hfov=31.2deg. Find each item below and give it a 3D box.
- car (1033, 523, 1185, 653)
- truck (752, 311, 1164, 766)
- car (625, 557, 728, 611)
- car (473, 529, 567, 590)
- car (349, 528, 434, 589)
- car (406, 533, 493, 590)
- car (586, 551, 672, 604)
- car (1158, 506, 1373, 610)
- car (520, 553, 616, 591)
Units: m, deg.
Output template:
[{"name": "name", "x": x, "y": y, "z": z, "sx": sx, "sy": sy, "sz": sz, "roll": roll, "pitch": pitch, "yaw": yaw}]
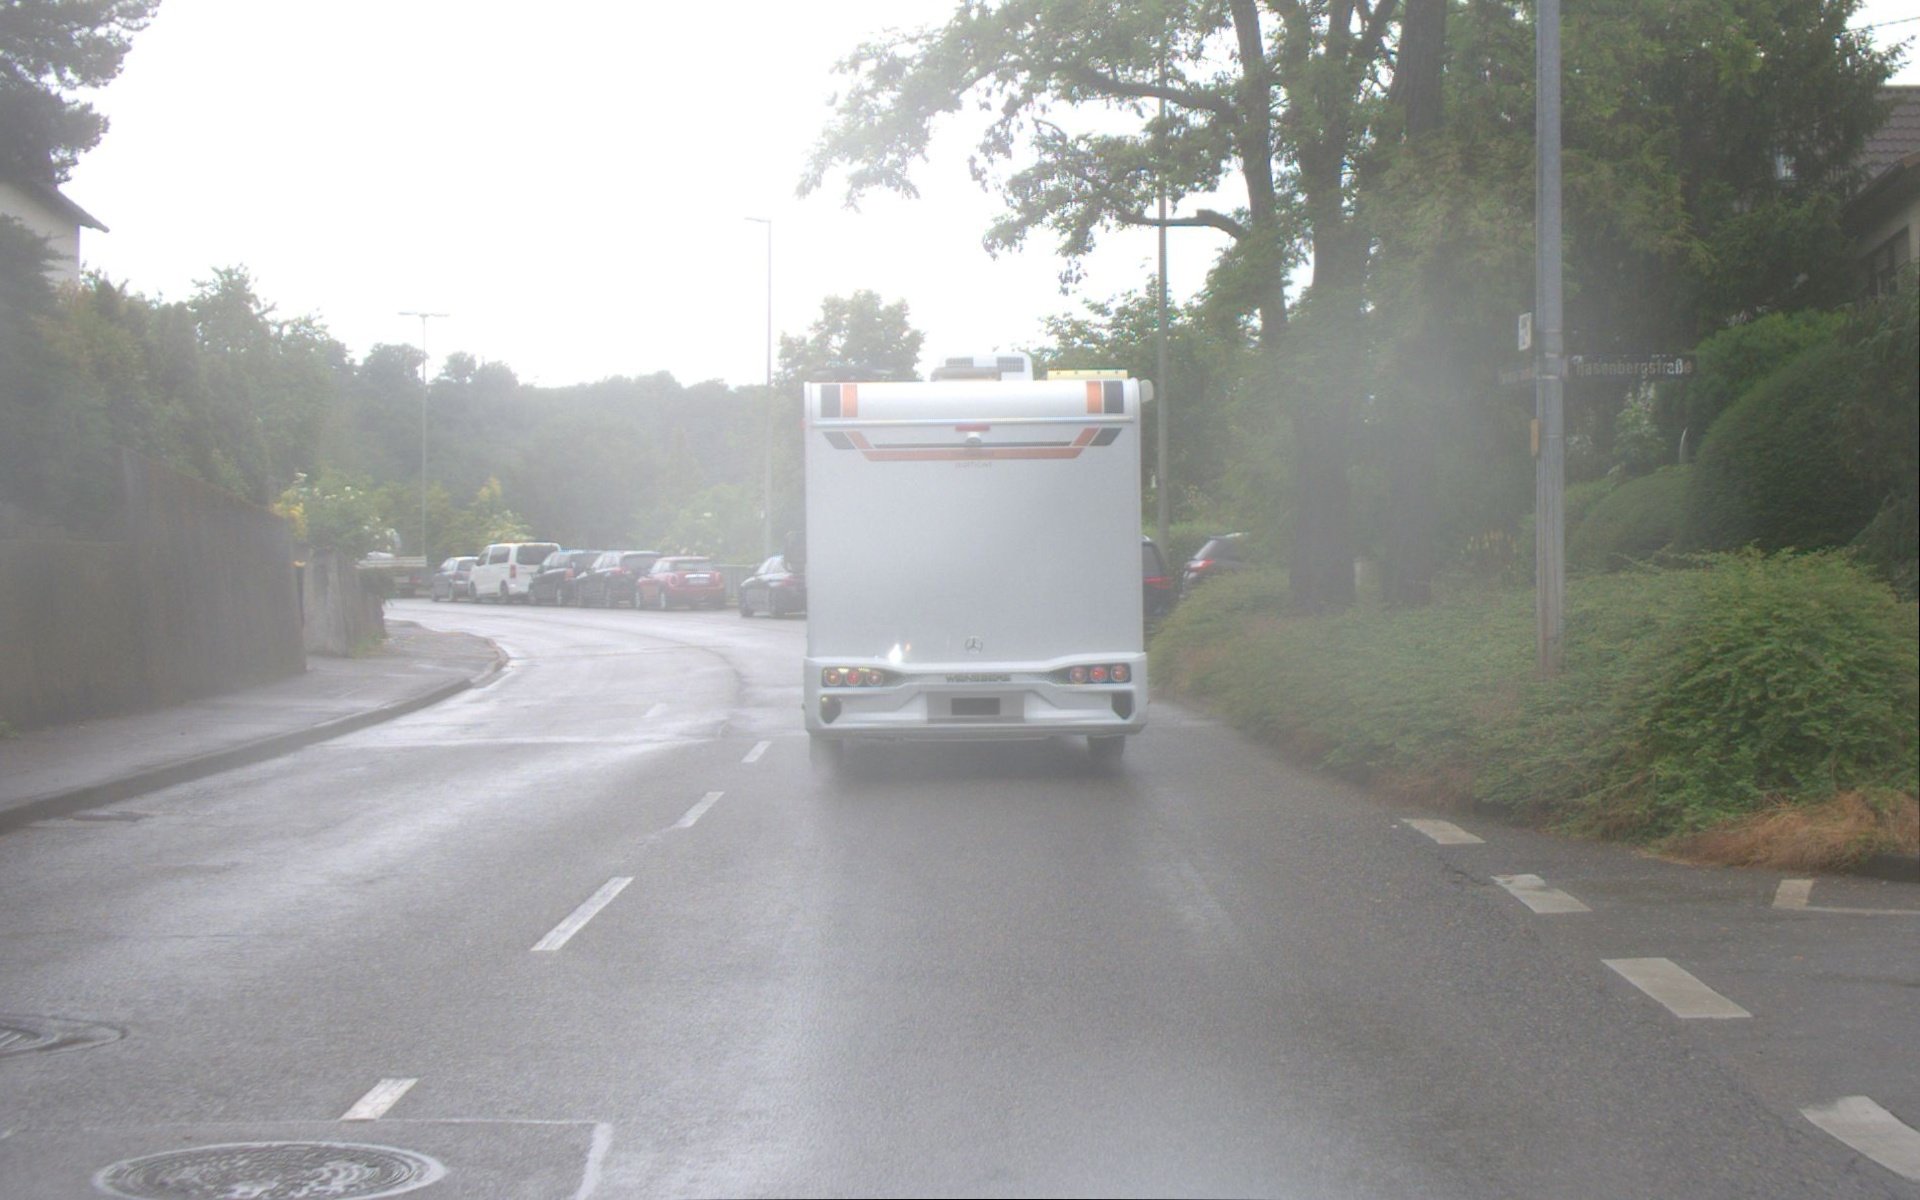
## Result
[{"name": "car", "x": 2.117, "y": -0.138, "z": 49.877, "sx": 1.993, "sy": 1.634, "sz": 3.999, "roll": 3, "pitch": -2, "yaw": 1}, {"name": "truck", "x": -0.102, "y": -0.311, "z": 25.338, "sx": 2.515, "sy": 2.808, "sz": 6.201, "roll": 3, "pitch": -2, "yaw": -2}, {"name": "car", "x": -7.632, "y": -0.420, "z": 92.354, "sx": 1.539, "sy": 1.322, "sz": 3.865, "roll": 4, "pitch": -2, "yaw": -23}, {"name": "car", "x": -13.771, "y": -1.249, "z": 107.445, "sx": 1.645, "sy": 1.715, "sz": 4.001, "roll": 4, "pitch": -2, "yaw": -25}, {"name": "car", "x": -20.501, "y": -1.471, "z": 123.801, "sx": 1.739, "sy": 2.037, "sz": 4.515, "roll": 4, "pitch": -2, "yaw": -25}, {"name": "car", "x": -16.773, "y": -1.255, "z": 112.855, "sx": 1.645, "sy": 1.715, "sz": 4.001, "roll": 4, "pitch": -2, "yaw": -25}, {"name": "car", "x": -9.356, "y": -0.608, "z": 96.997, "sx": 1.539, "sy": 1.322, "sz": 4.001, "roll": 4, "pitch": -2, "yaw": -18}, {"name": "car", "x": 5.645, "y": -0.765, "z": 63.821, "sx": 3.624, "sy": 1.658, "sz": 2.000, "roll": 3, "pitch": -2, "yaw": -3}, {"name": "car", "x": -11.683, "y": -0.848, "z": 102.306, "sx": 1.645, "sy": 1.097, "sz": 4.001, "roll": 0, "pitch": 1, "yaw": -25}]
